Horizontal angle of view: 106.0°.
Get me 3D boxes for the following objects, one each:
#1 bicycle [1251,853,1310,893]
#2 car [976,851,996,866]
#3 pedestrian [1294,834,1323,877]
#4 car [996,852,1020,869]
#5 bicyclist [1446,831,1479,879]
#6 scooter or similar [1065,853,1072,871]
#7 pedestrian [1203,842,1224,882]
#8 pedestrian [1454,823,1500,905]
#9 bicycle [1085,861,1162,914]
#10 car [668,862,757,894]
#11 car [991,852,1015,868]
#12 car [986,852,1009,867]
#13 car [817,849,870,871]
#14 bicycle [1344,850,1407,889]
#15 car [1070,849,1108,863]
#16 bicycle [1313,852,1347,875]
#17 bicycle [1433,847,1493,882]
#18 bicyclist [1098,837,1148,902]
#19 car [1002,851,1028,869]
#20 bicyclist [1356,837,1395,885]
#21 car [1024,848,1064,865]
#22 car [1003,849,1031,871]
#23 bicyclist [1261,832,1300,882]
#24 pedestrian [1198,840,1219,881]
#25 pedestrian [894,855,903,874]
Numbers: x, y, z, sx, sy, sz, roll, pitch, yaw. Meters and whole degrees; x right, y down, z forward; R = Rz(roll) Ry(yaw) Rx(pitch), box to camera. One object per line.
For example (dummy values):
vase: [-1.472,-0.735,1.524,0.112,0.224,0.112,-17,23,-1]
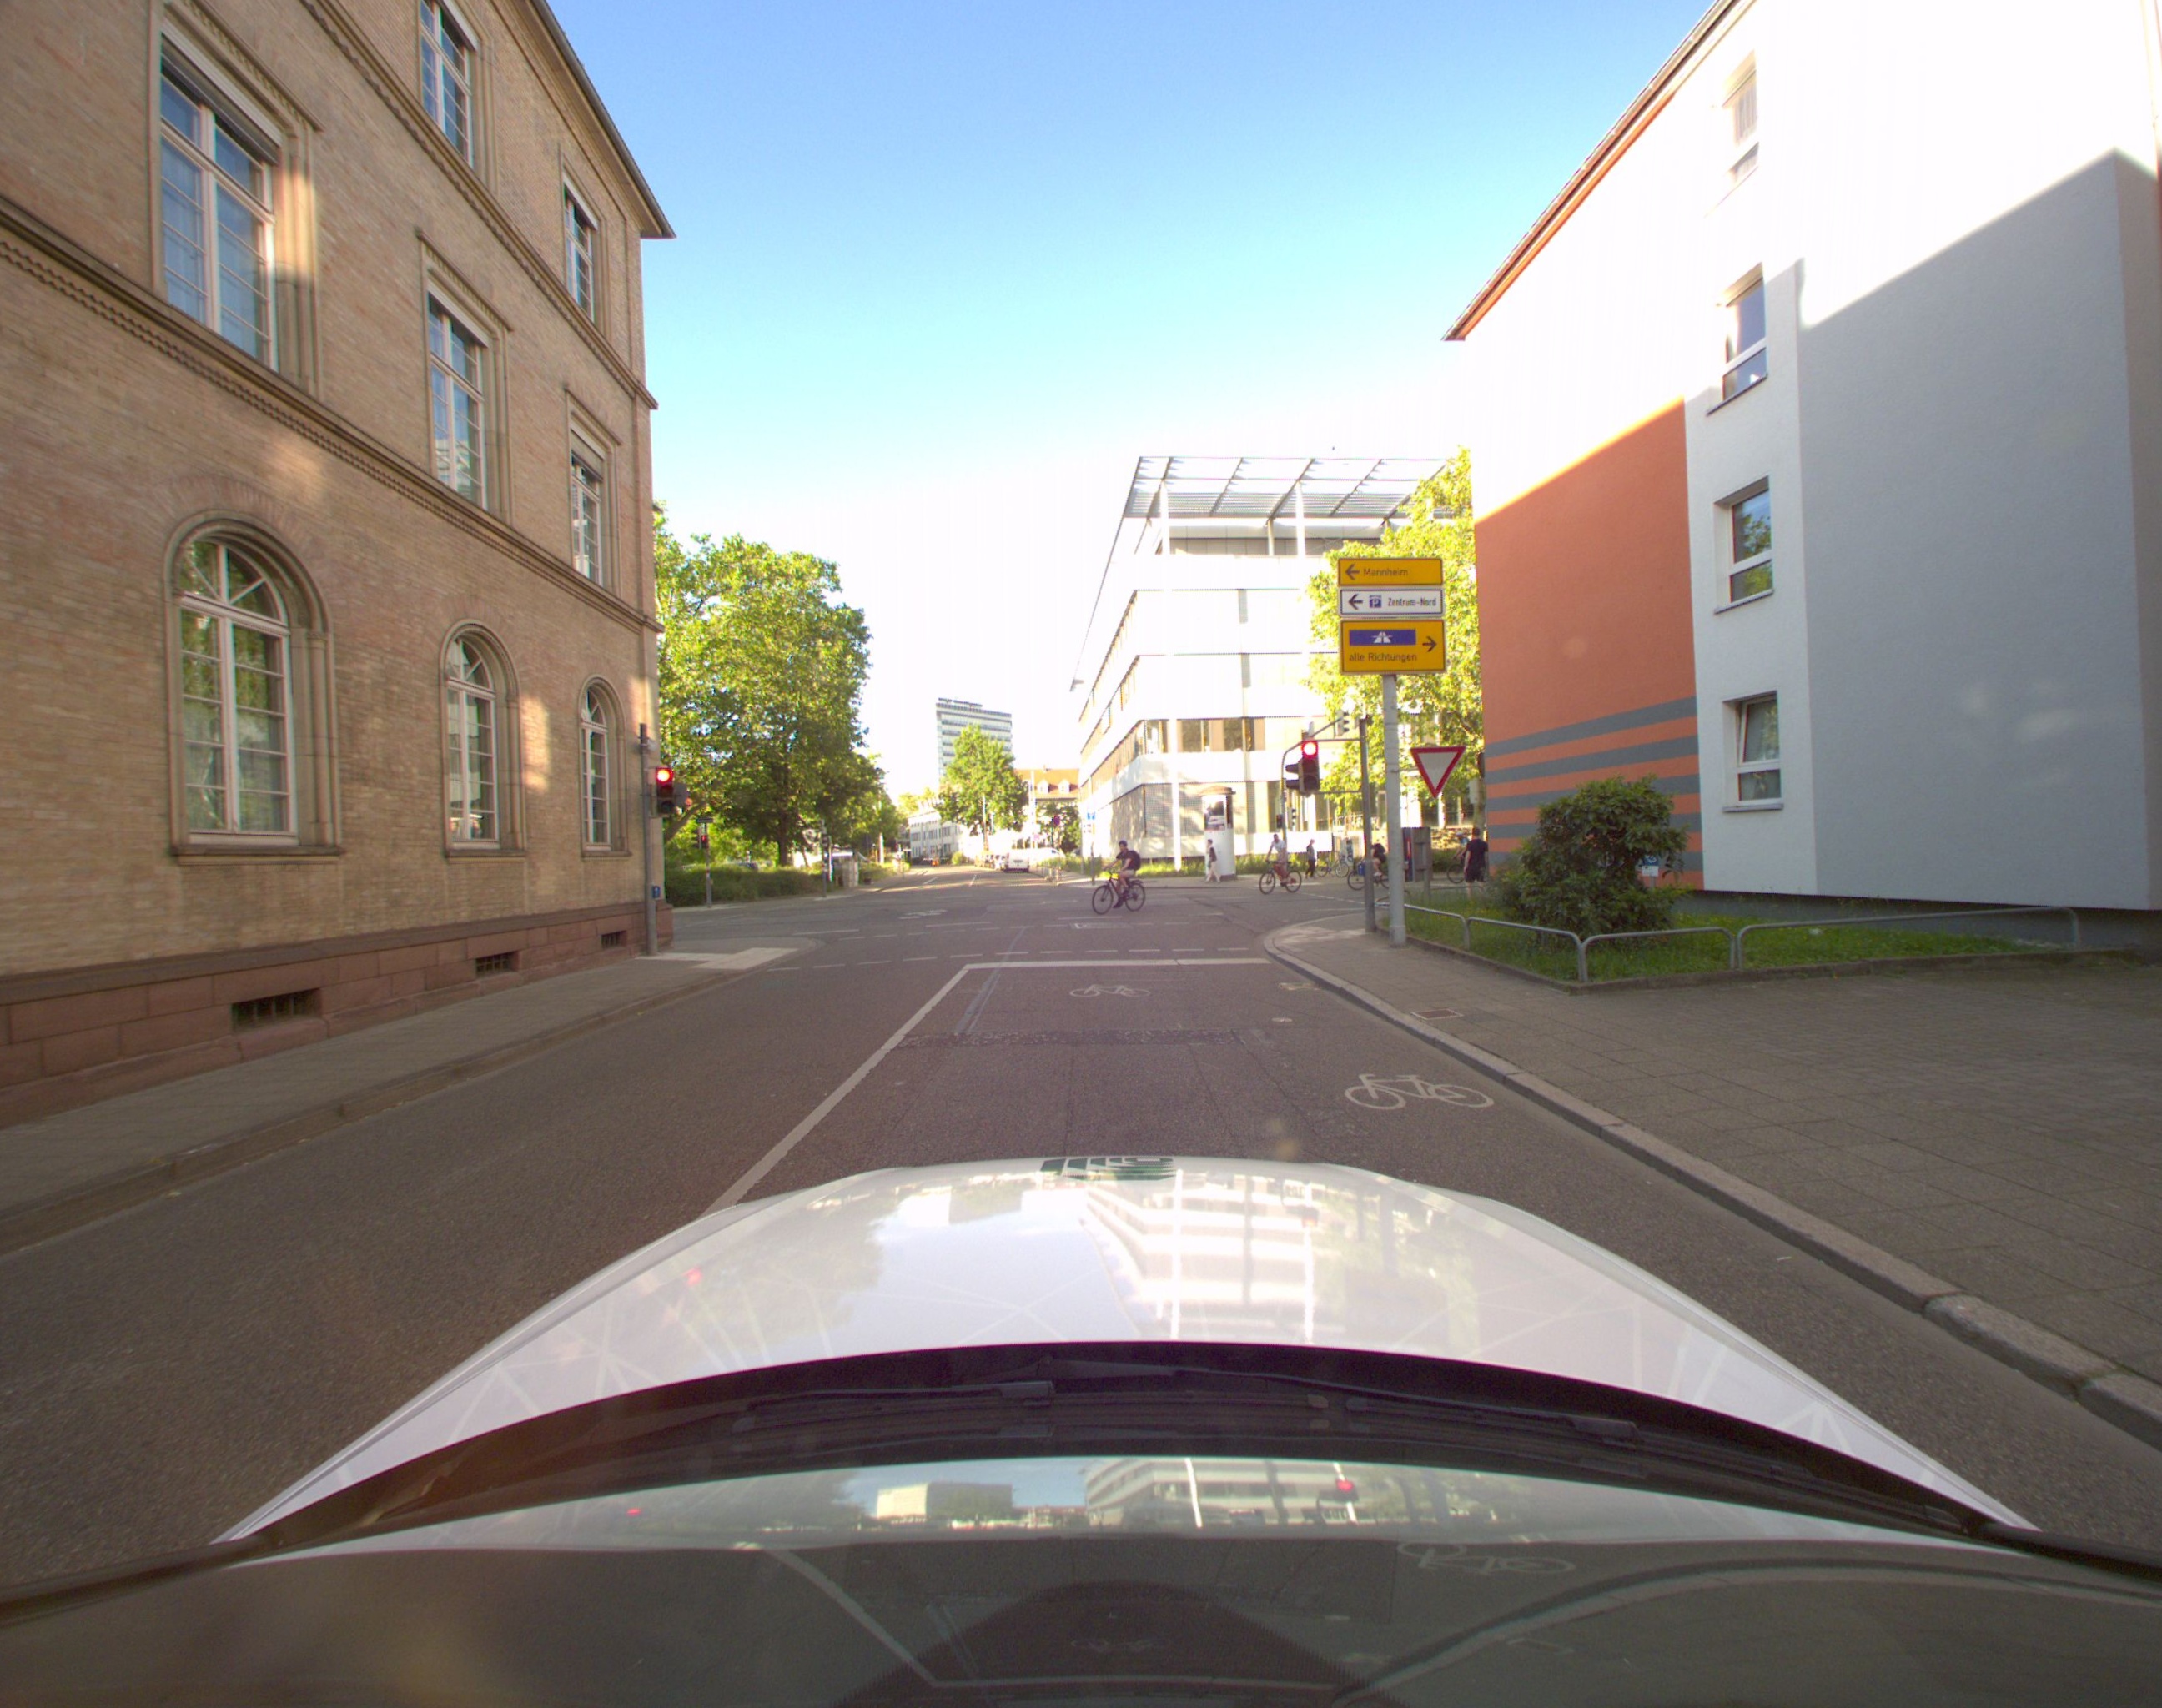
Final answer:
bicycle: [6.272,0.582,25.539,1.978,1.152,0.621,-2,0,-35]
car: [-11.305,0.558,96.310,1.995,1.725,4.633,0,-1,-11]
pedestrian: [9.858,0.061,35.345,0.765,1.815,0.907,0,-1,-36]
car: [-6.924,0.625,77.159,1.993,1.499,4.638,0,-1,-8]
bicyclist: [13.345,0.033,28.520,0.820,1.628,0.628,-2,0,2]
scooter or similar: [-0.917,0.594,58.482,0.436,1.256,1.418,-2,0,-2]
pedestrian: [5.671,0.346,34.843,0.758,1.719,0.651,-1,-1,23]
pedestrian: [9.010,0.217,18.523,0.723,1.810,0.693,0,-1,-39]
bicycle: [1.065,0.799,20.011,1.980,1.152,0.585,-2,0,-41]
car: [-17.086,1.094,37.909,3.407,1.457,1.646,0,-1,-8]
car: [-7.846,0.602,81.633,1.994,1.499,4.270,0,-1,-11]
car: [-8.888,0.609,86.386,1.994,1.499,4.635,0,-1,-10]
car: [-22.028,0.539,75.775,4.441,2.014,1.995,0,-1,-8]
bicycle: [9.348,0.485,25.886,1.775,1.152,0.627,-2,0,-4]
car: [1.019,0.283,104.963,4.644,1.725,1.990,0,-1,-15]
bicycle: [11.003,0.437,36.034,0.381,1.008,1.416,-2,0,-40]
bicycle: [13.377,0.355,28.523,1.771,1.152,0.628,-2,0,2]
bicyclist: [1.042,0.373,20.020,1.084,1.527,0.585,-2,0,-41]
car: [-5.851,0.494,71.359,1.993,1.499,4.638,0,-1,-8]
bicyclist: [9.353,0.216,25.879,0.969,1.446,0.627,-2,0,-4]
car: [-4.687,0.298,103.256,4.802,2.159,1.989,0,-1,-16]
car: [-5.175,0.482,65.125,1.992,1.725,4.640,0,-1,-7]
bicyclist: [6.249,0.083,25.550,0.922,1.522,0.697,-2,0,-35]
pedestrian: [5.588,0.288,35.752,0.758,1.795,0.651,-1,-1,23]
pedestrian: [-15.599,0.874,69.495,0.700,1.587,0.633,0,-1,-14]
